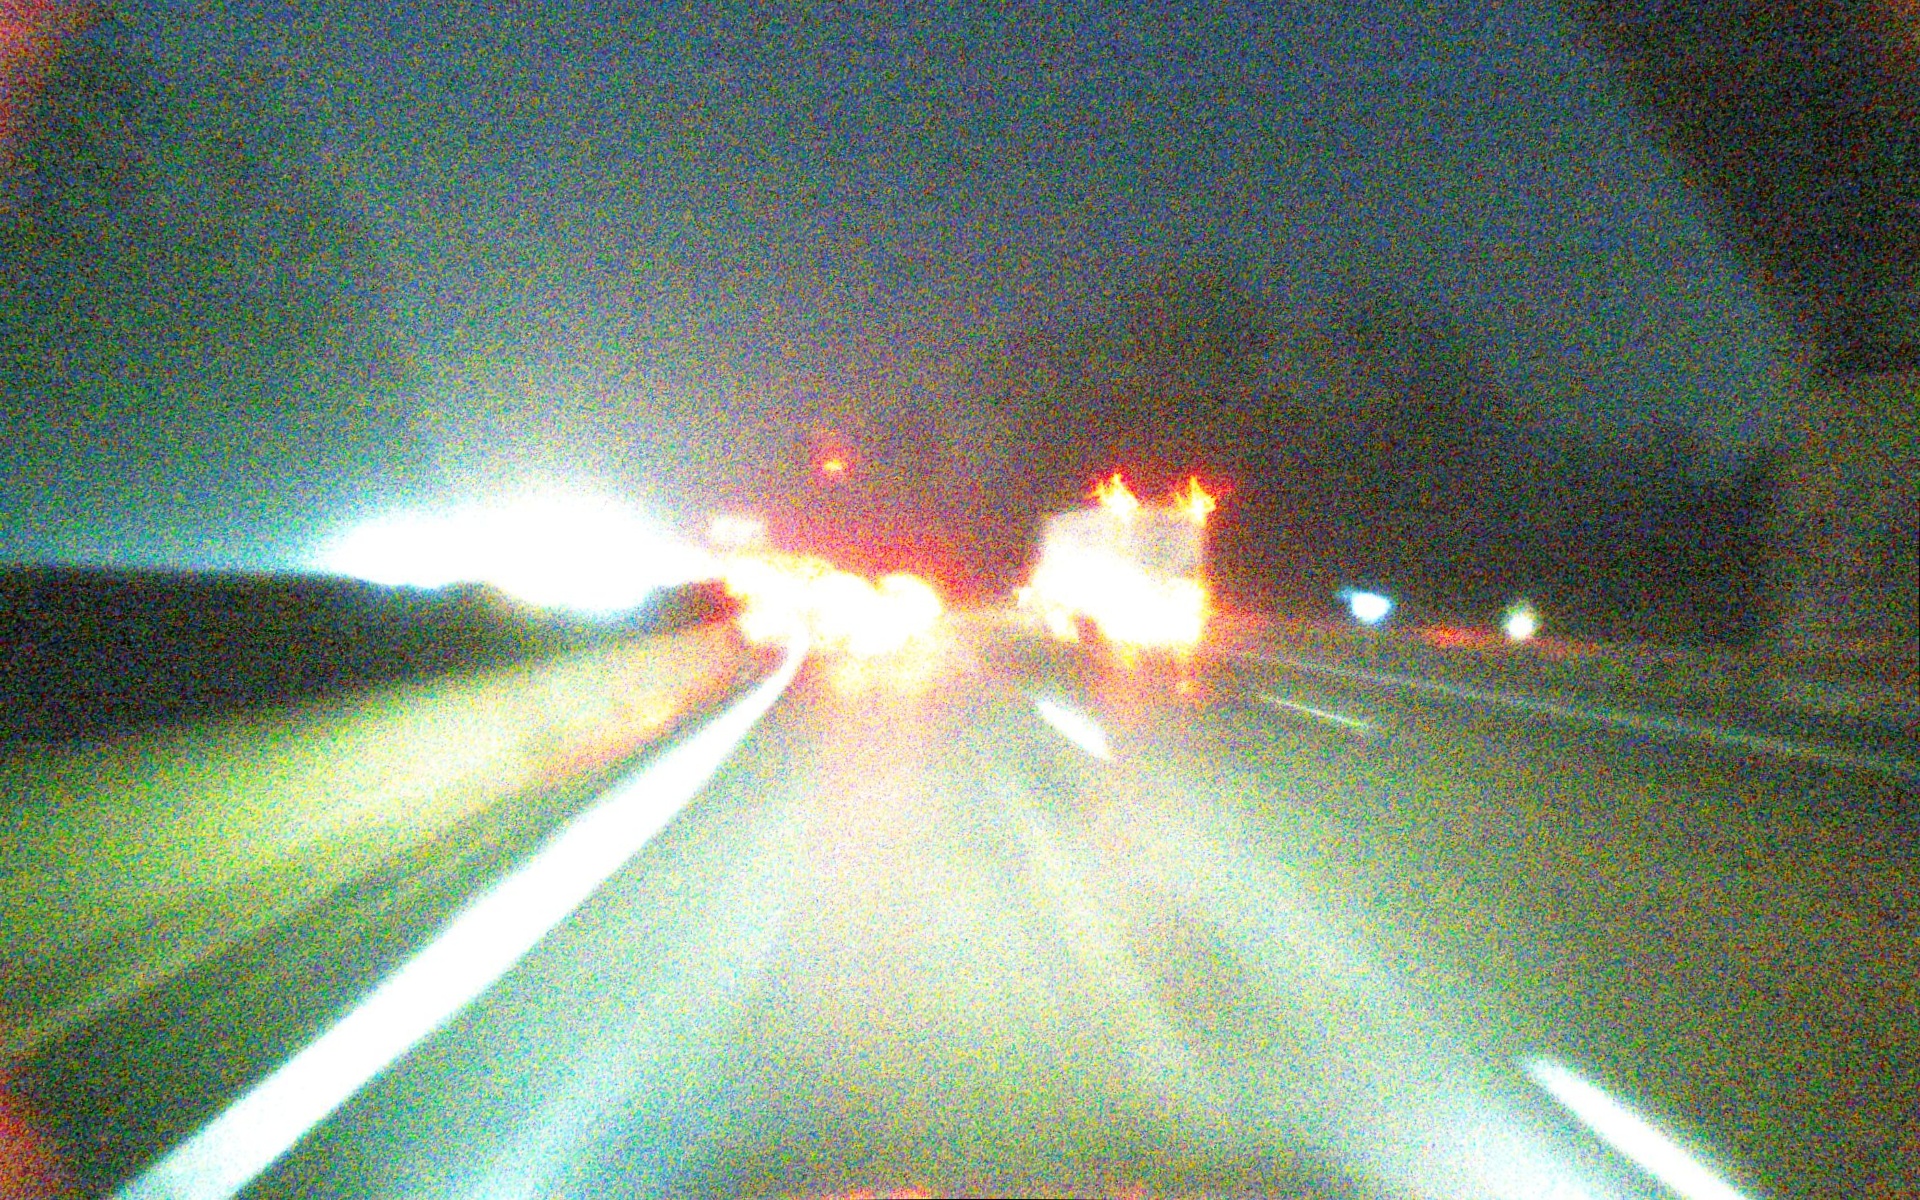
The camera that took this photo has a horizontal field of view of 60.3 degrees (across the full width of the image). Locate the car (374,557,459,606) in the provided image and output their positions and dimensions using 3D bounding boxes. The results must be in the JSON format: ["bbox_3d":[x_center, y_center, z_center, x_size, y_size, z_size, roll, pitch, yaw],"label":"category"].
[{"bbox_3d":[-20.797,-0.746,63.434,1.954,1.632,3.999,5,1,-3],"label":"car"}]

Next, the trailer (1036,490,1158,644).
[{"bbox_3d":[4.170,-1.052,53.256,2.683,4.322,13.371,-1,1,0],"label":"trailer"}]

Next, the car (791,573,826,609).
[{"bbox_3d":[-8.727,-0.516,95.538,1.955,2.049,3.996,1,0,-5],"label":"car"}]

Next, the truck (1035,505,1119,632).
[{"bbox_3d":[4.157,-1.127,59.726,2.655,4.315,5.293,1,1,1],"label":"truck"}]

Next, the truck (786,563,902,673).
[{"bbox_3d":[-2.575,0.313,38.357,2.102,2.112,6.604,5,1,-1],"label":"truck"}]

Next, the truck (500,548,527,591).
[{"bbox_3d":[-58.396,-4.018,216.214,2.710,5.184,5.854,5,1,-18],"label":"truck"}]

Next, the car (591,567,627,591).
[{"bbox_3d":[-25.881,-1.592,122.097,1.955,1.503,3.997,5,1,-5],"label":"car"}]
